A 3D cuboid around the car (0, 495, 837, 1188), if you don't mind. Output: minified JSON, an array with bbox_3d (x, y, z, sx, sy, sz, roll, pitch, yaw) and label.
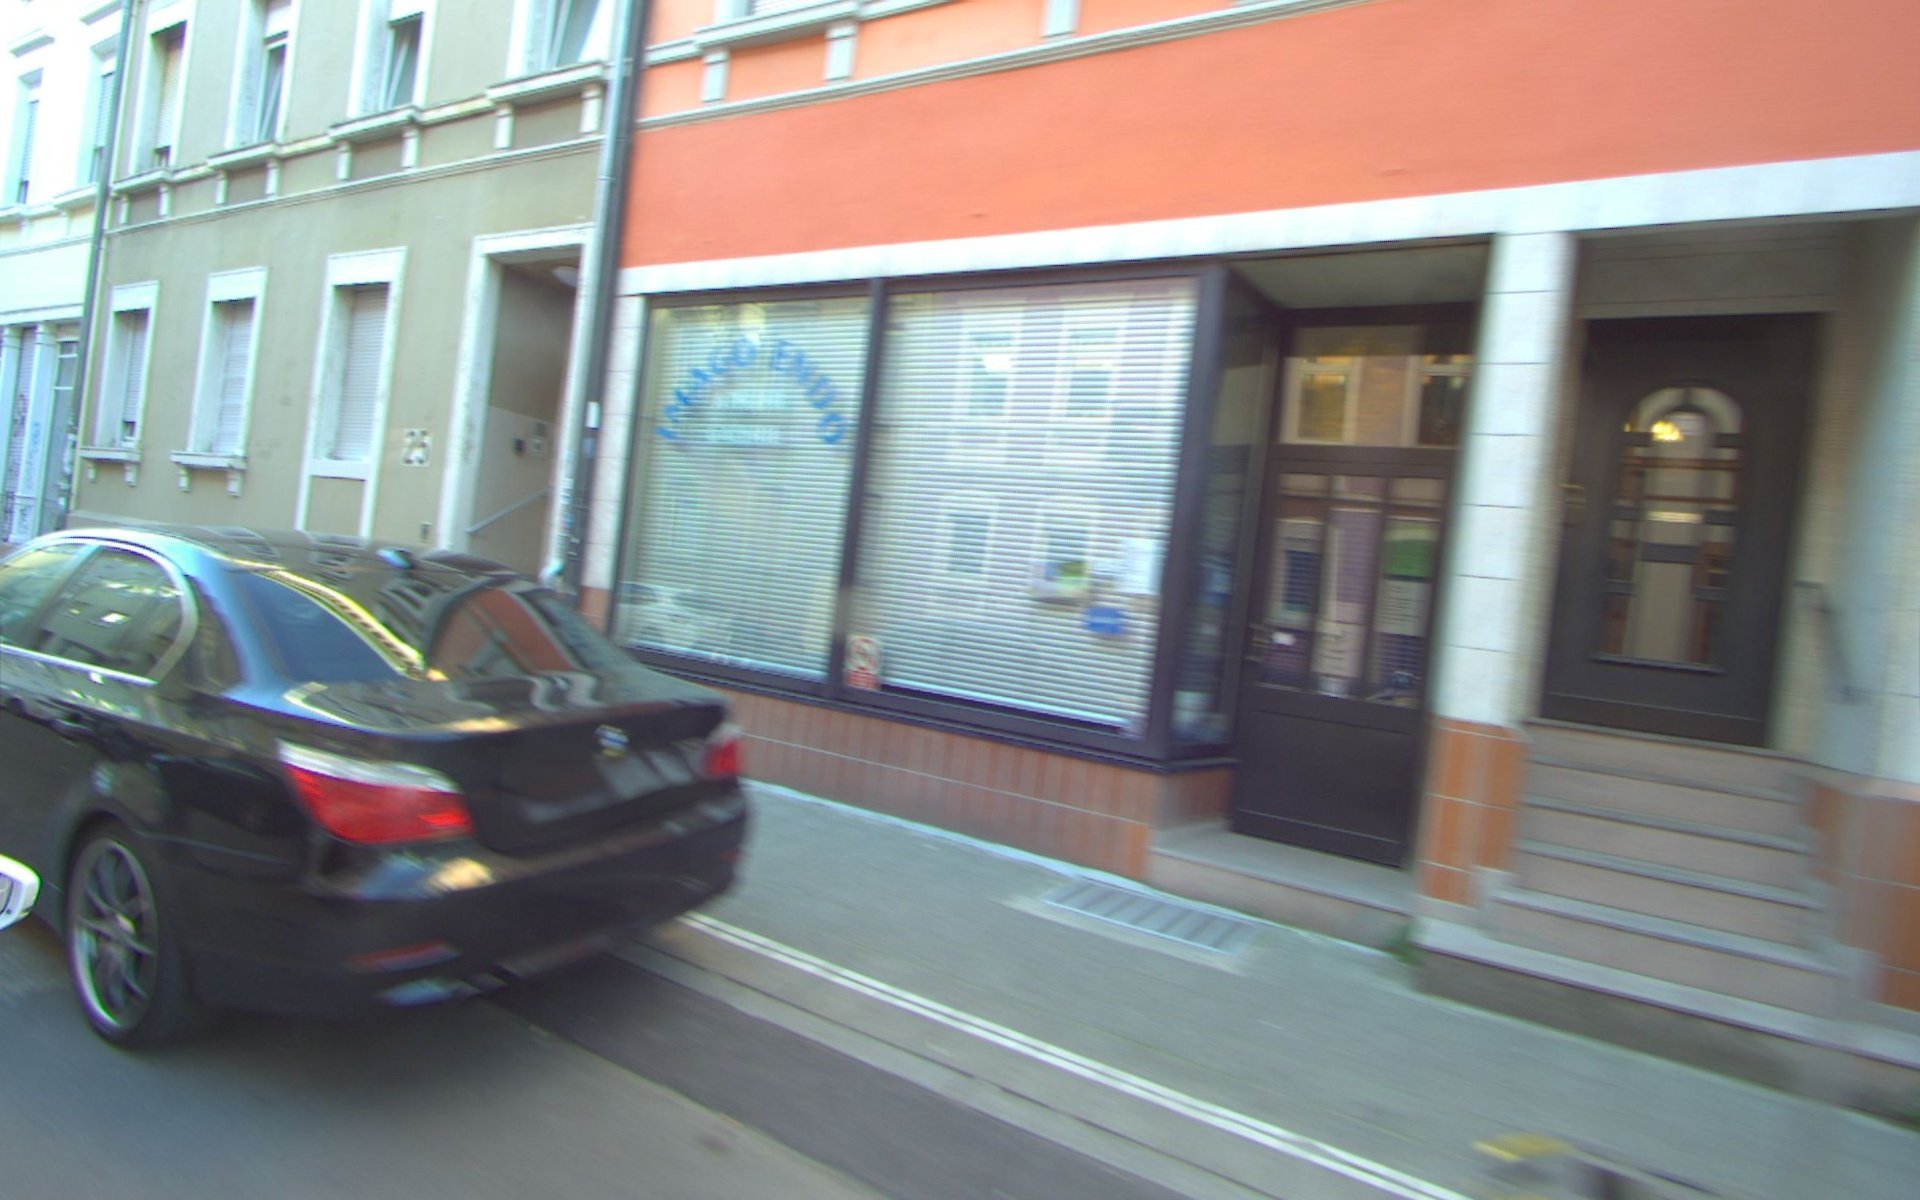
[{"bbox_3d":[-2.997,0.402,4.199,4.710,1.457,1.818,6,1,30],"label":"car"}]

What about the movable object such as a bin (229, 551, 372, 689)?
[{"bbox_3d":[-5.725,0.172,8.746,0.667,1.090,0.806,7,3,35],"label":"movable object such as a bin"}]
